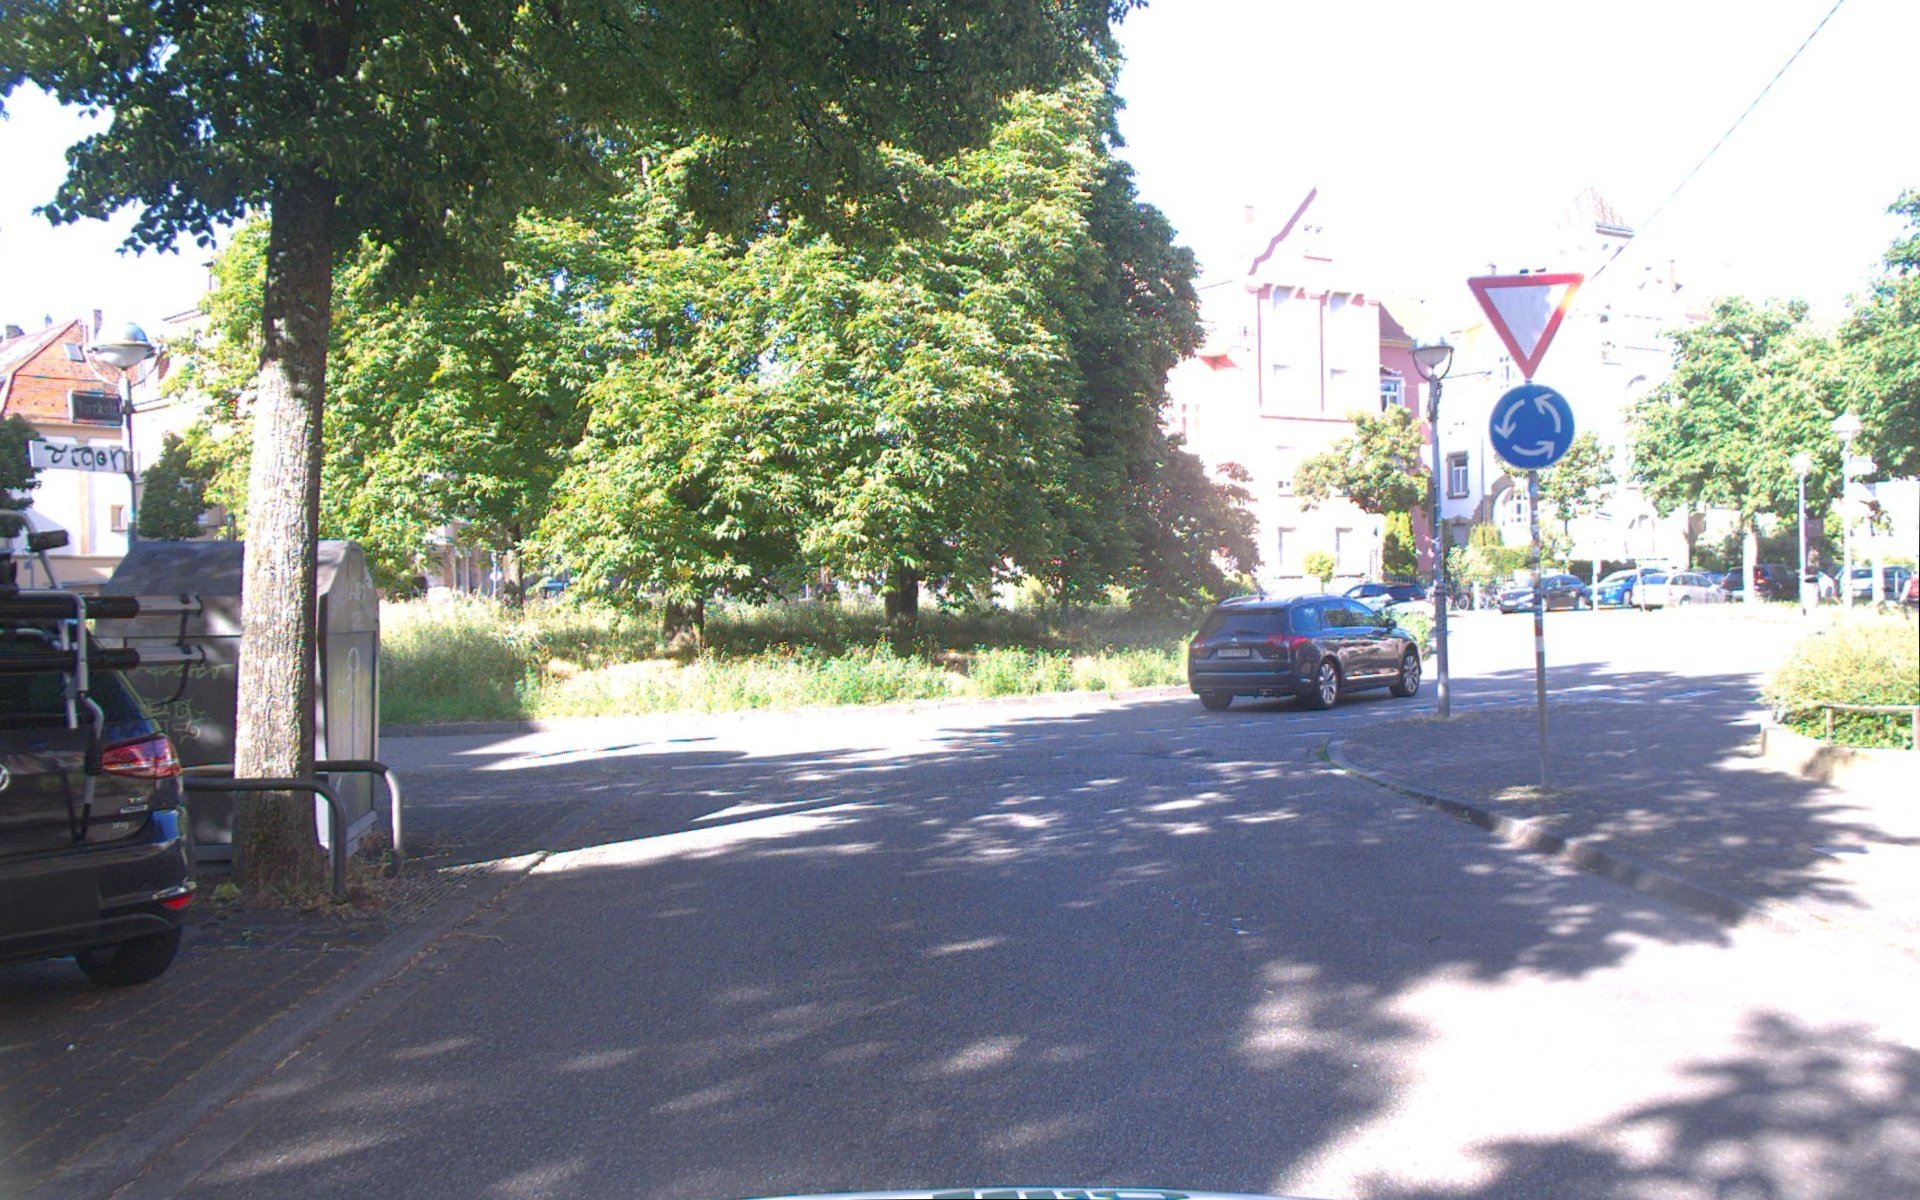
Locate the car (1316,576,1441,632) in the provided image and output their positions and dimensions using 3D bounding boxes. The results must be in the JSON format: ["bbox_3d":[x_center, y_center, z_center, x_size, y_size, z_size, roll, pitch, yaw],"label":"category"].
[{"bbox_3d":[12.616,0.146,50.019,1.692,1.591,3.742,-1,-1,-25],"label":"car"}]

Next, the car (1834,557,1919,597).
[{"bbox_3d":[36.375,-0.907,65.400,3.408,1.461,1.645,-2,0,-29],"label":"car"}]

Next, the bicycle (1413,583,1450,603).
[{"bbox_3d":[19.425,-0.283,68.217,0.470,0.814,2.020,-2,0,-16],"label":"bicycle"}]

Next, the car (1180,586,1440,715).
[{"bbox_3d":[4.871,0.629,22.650,1.688,1.509,4.121,-2,1,41],"label":"car"}]

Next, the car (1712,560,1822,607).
[{"bbox_3d":[26.991,-0.560,55.325,3.688,1.480,1.544,-2,1,-31],"label":"car"}]

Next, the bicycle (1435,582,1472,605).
[{"bbox_3d":[20.540,-0.283,68.932,0.469,0.930,2.280,-2,0,-11],"label":"bicycle"}]

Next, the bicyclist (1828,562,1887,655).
[{"bbox_3d":[14.130,0.128,26.045,0.498,1.441,0.741,-2,0,0],"label":"bicyclist"}]

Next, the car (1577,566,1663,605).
[{"bbox_3d":[27.521,-0.606,68.951,3.431,1.514,1.653,-2,0,-32],"label":"car"}]

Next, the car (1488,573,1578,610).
[{"bbox_3d":[23.037,-0.350,66.490,3.606,1.393,1.736,-2,1,-37],"label":"car"}]

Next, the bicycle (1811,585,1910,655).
[{"bbox_3d":[14.135,0.293,26.020,0.496,1.054,1.875,-2,0,-1],"label":"bicycle"}]

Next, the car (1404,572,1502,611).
[{"bbox_3d":[18.915,-0.333,63.432,3.602,1.393,1.738,-2,1,-35],"label":"car"}]

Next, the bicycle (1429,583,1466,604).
[{"bbox_3d":[20.087,-0.271,68.163,0.469,0.814,2.280,-2,0,-11],"label":"bicycle"}]

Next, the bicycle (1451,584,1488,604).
[{"bbox_3d":[21.330,-0.251,69.318,0.469,0.837,2.280,-2,0,-11],"label":"bicycle"}]

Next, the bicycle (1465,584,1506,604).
[{"bbox_3d":[22.071,-0.248,69.559,0.613,0.799,2.280,-2,0,-11],"label":"bicycle"}]

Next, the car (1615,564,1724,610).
[{"bbox_3d":[25.071,-0.460,58.401,3.924,1.480,1.544,-2,1,-31],"label":"car"}]

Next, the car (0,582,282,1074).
[{"bbox_3d":[-4.522,0.724,6.364,4.061,1.507,1.768,-1,-1,38],"label":"car"}]
